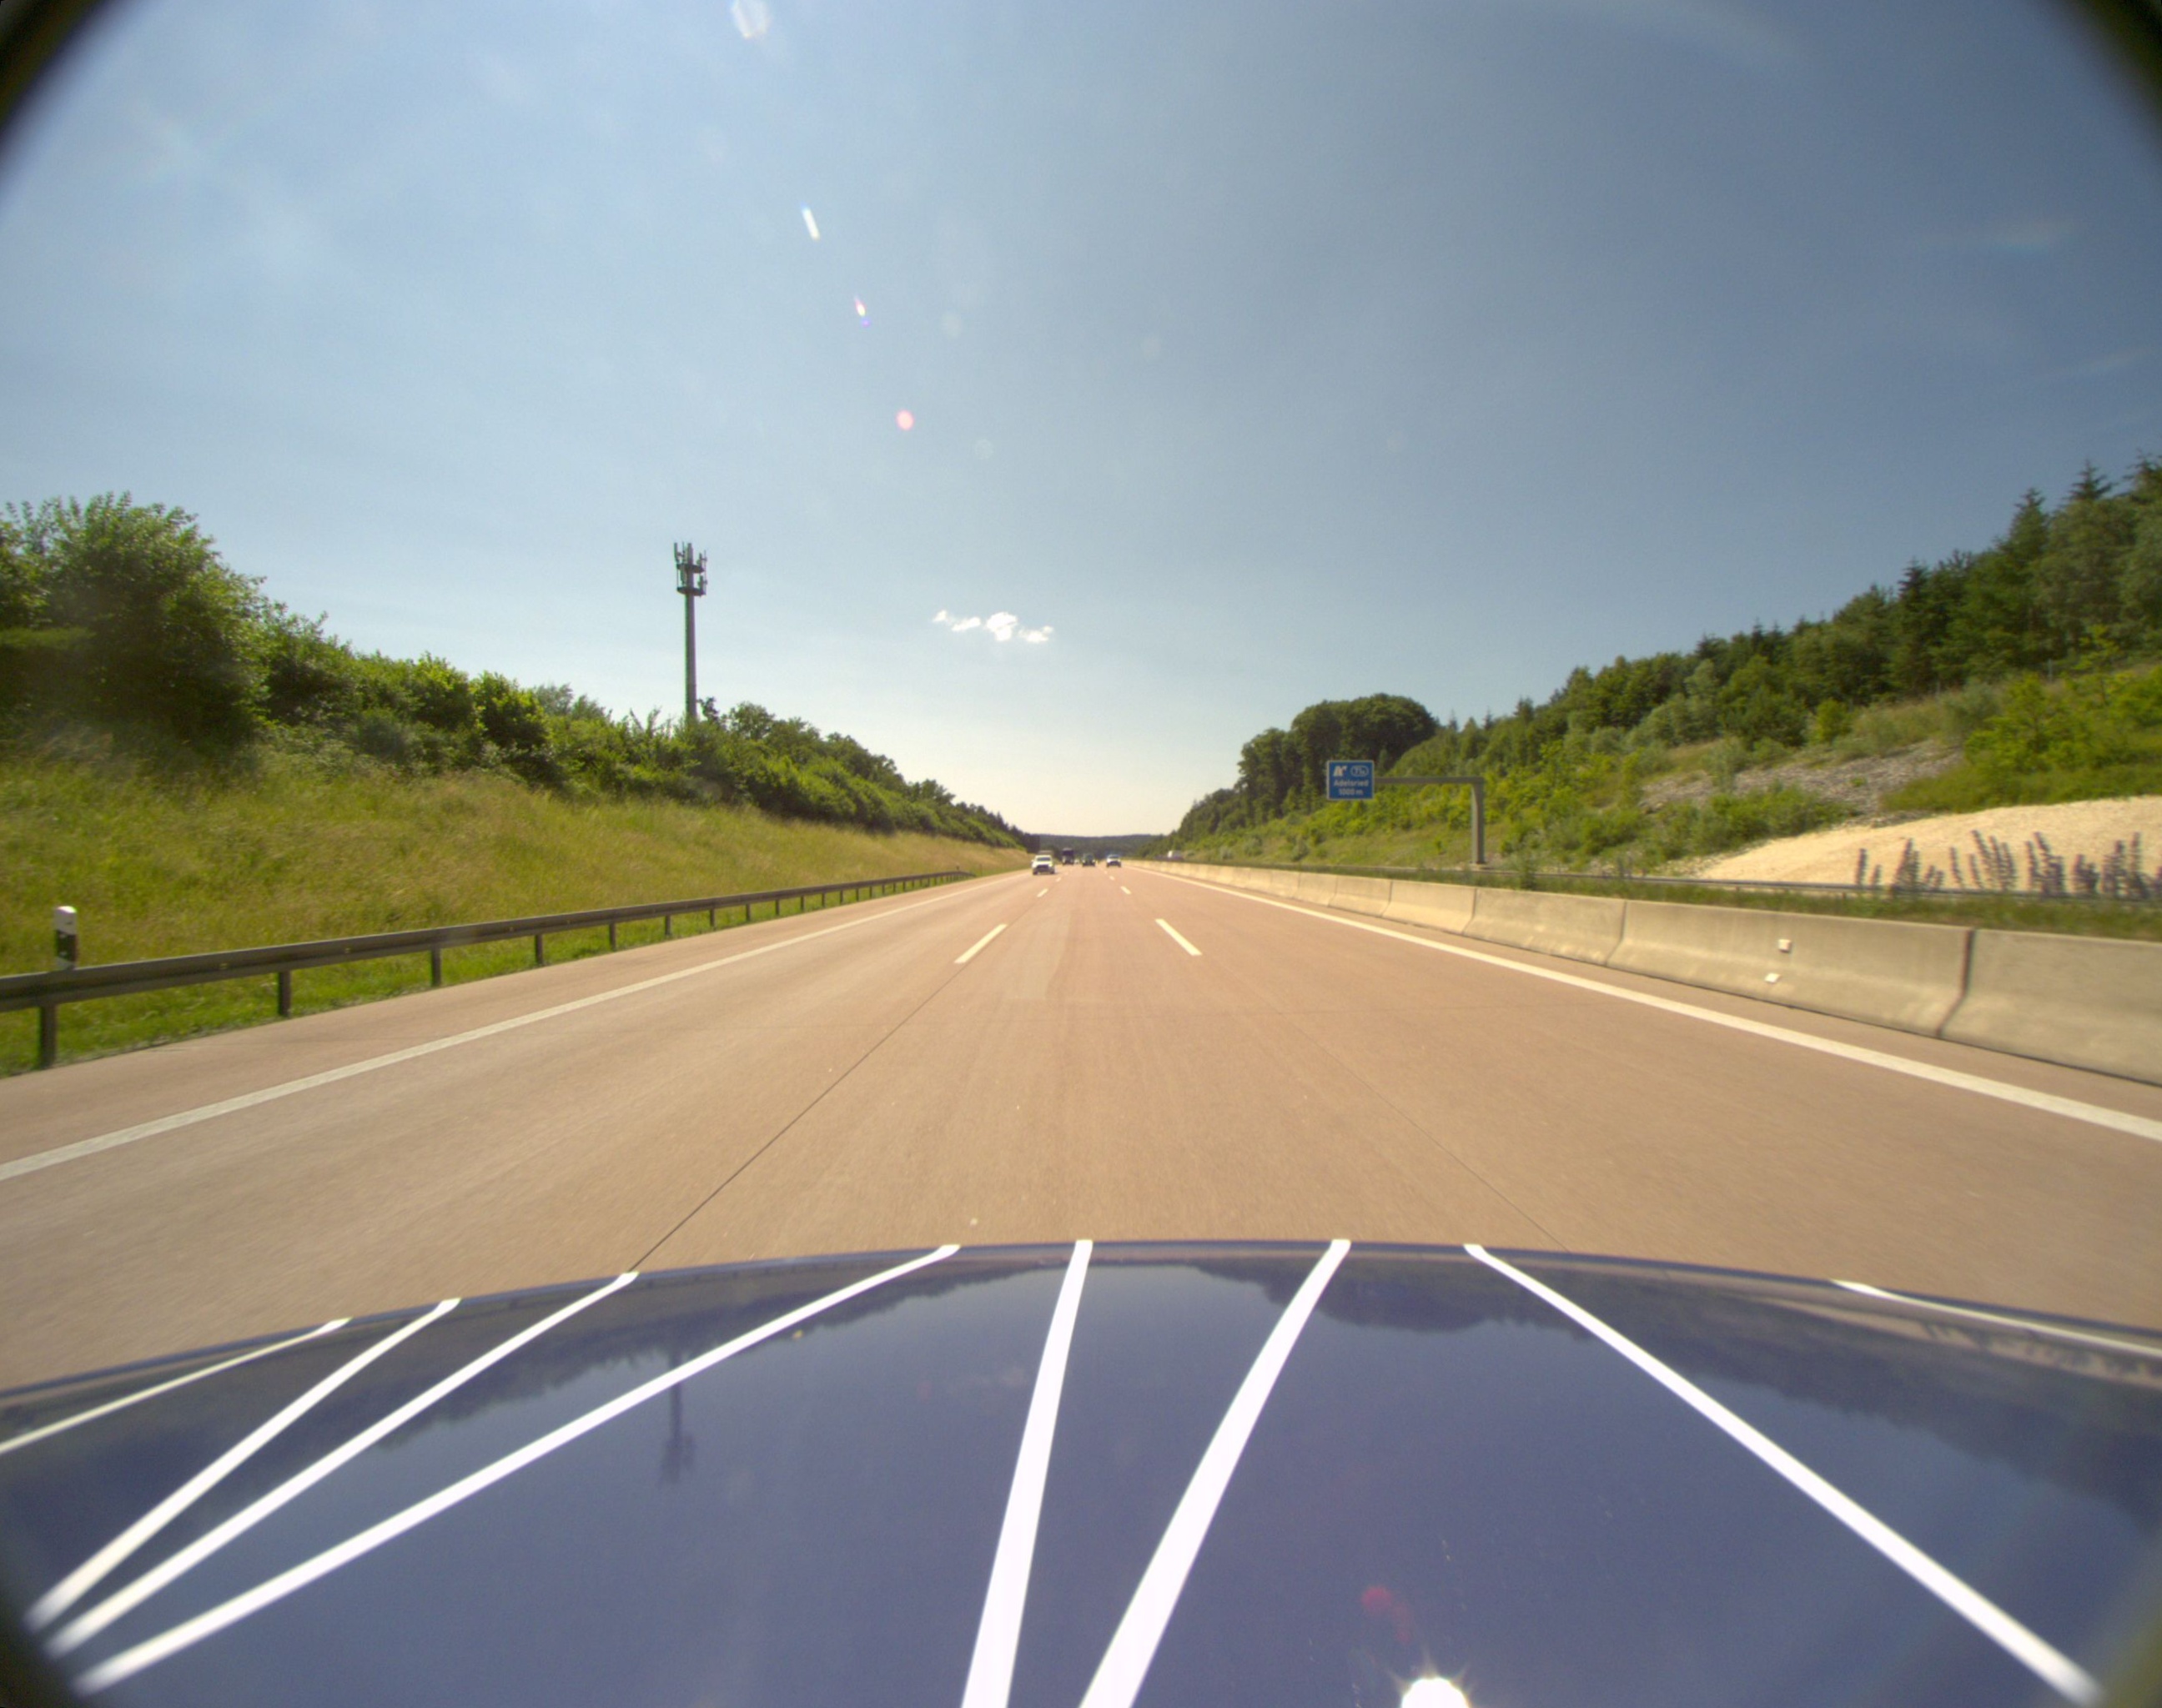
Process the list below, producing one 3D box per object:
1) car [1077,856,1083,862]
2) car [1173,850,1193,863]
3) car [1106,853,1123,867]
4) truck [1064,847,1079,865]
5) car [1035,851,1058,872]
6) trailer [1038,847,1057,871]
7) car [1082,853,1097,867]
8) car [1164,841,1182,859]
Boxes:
[{"bbox_3d":[-0.250,1.830,261.426,1.998,2.001,4.000,-2,-1,0],"label":"car"},{"bbox_3d":[13.684,0.349,102.541,1.896,1.584,4.978,-2,-1,-1],"label":"car"},{"bbox_3d":[4.349,0.821,99.323,1.895,1.718,4.564,-2,-1,0],"label":"car"},{"bbox_3d":[-1.779,0.389,145.841,2.508,3.199,7.786,-2,-1,2],"label":"truck"},{"bbox_3d":[-3.043,0.634,67.788,1.896,1.718,5.185,-2,0,-1],"label":"car"},{"bbox_3d":[-3.159,0.511,72.345,1.662,2.151,4.016,-2,0,-1],"label":"trailer"},{"bbox_3d":[1.329,0.871,112.894,1.998,1.805,4.564,-2,1,3],"label":"car"},{"bbox_3d":[17.055,-0.709,140.630,2.416,2.952,7.503,-2,-1,1],"label":"car"}]
